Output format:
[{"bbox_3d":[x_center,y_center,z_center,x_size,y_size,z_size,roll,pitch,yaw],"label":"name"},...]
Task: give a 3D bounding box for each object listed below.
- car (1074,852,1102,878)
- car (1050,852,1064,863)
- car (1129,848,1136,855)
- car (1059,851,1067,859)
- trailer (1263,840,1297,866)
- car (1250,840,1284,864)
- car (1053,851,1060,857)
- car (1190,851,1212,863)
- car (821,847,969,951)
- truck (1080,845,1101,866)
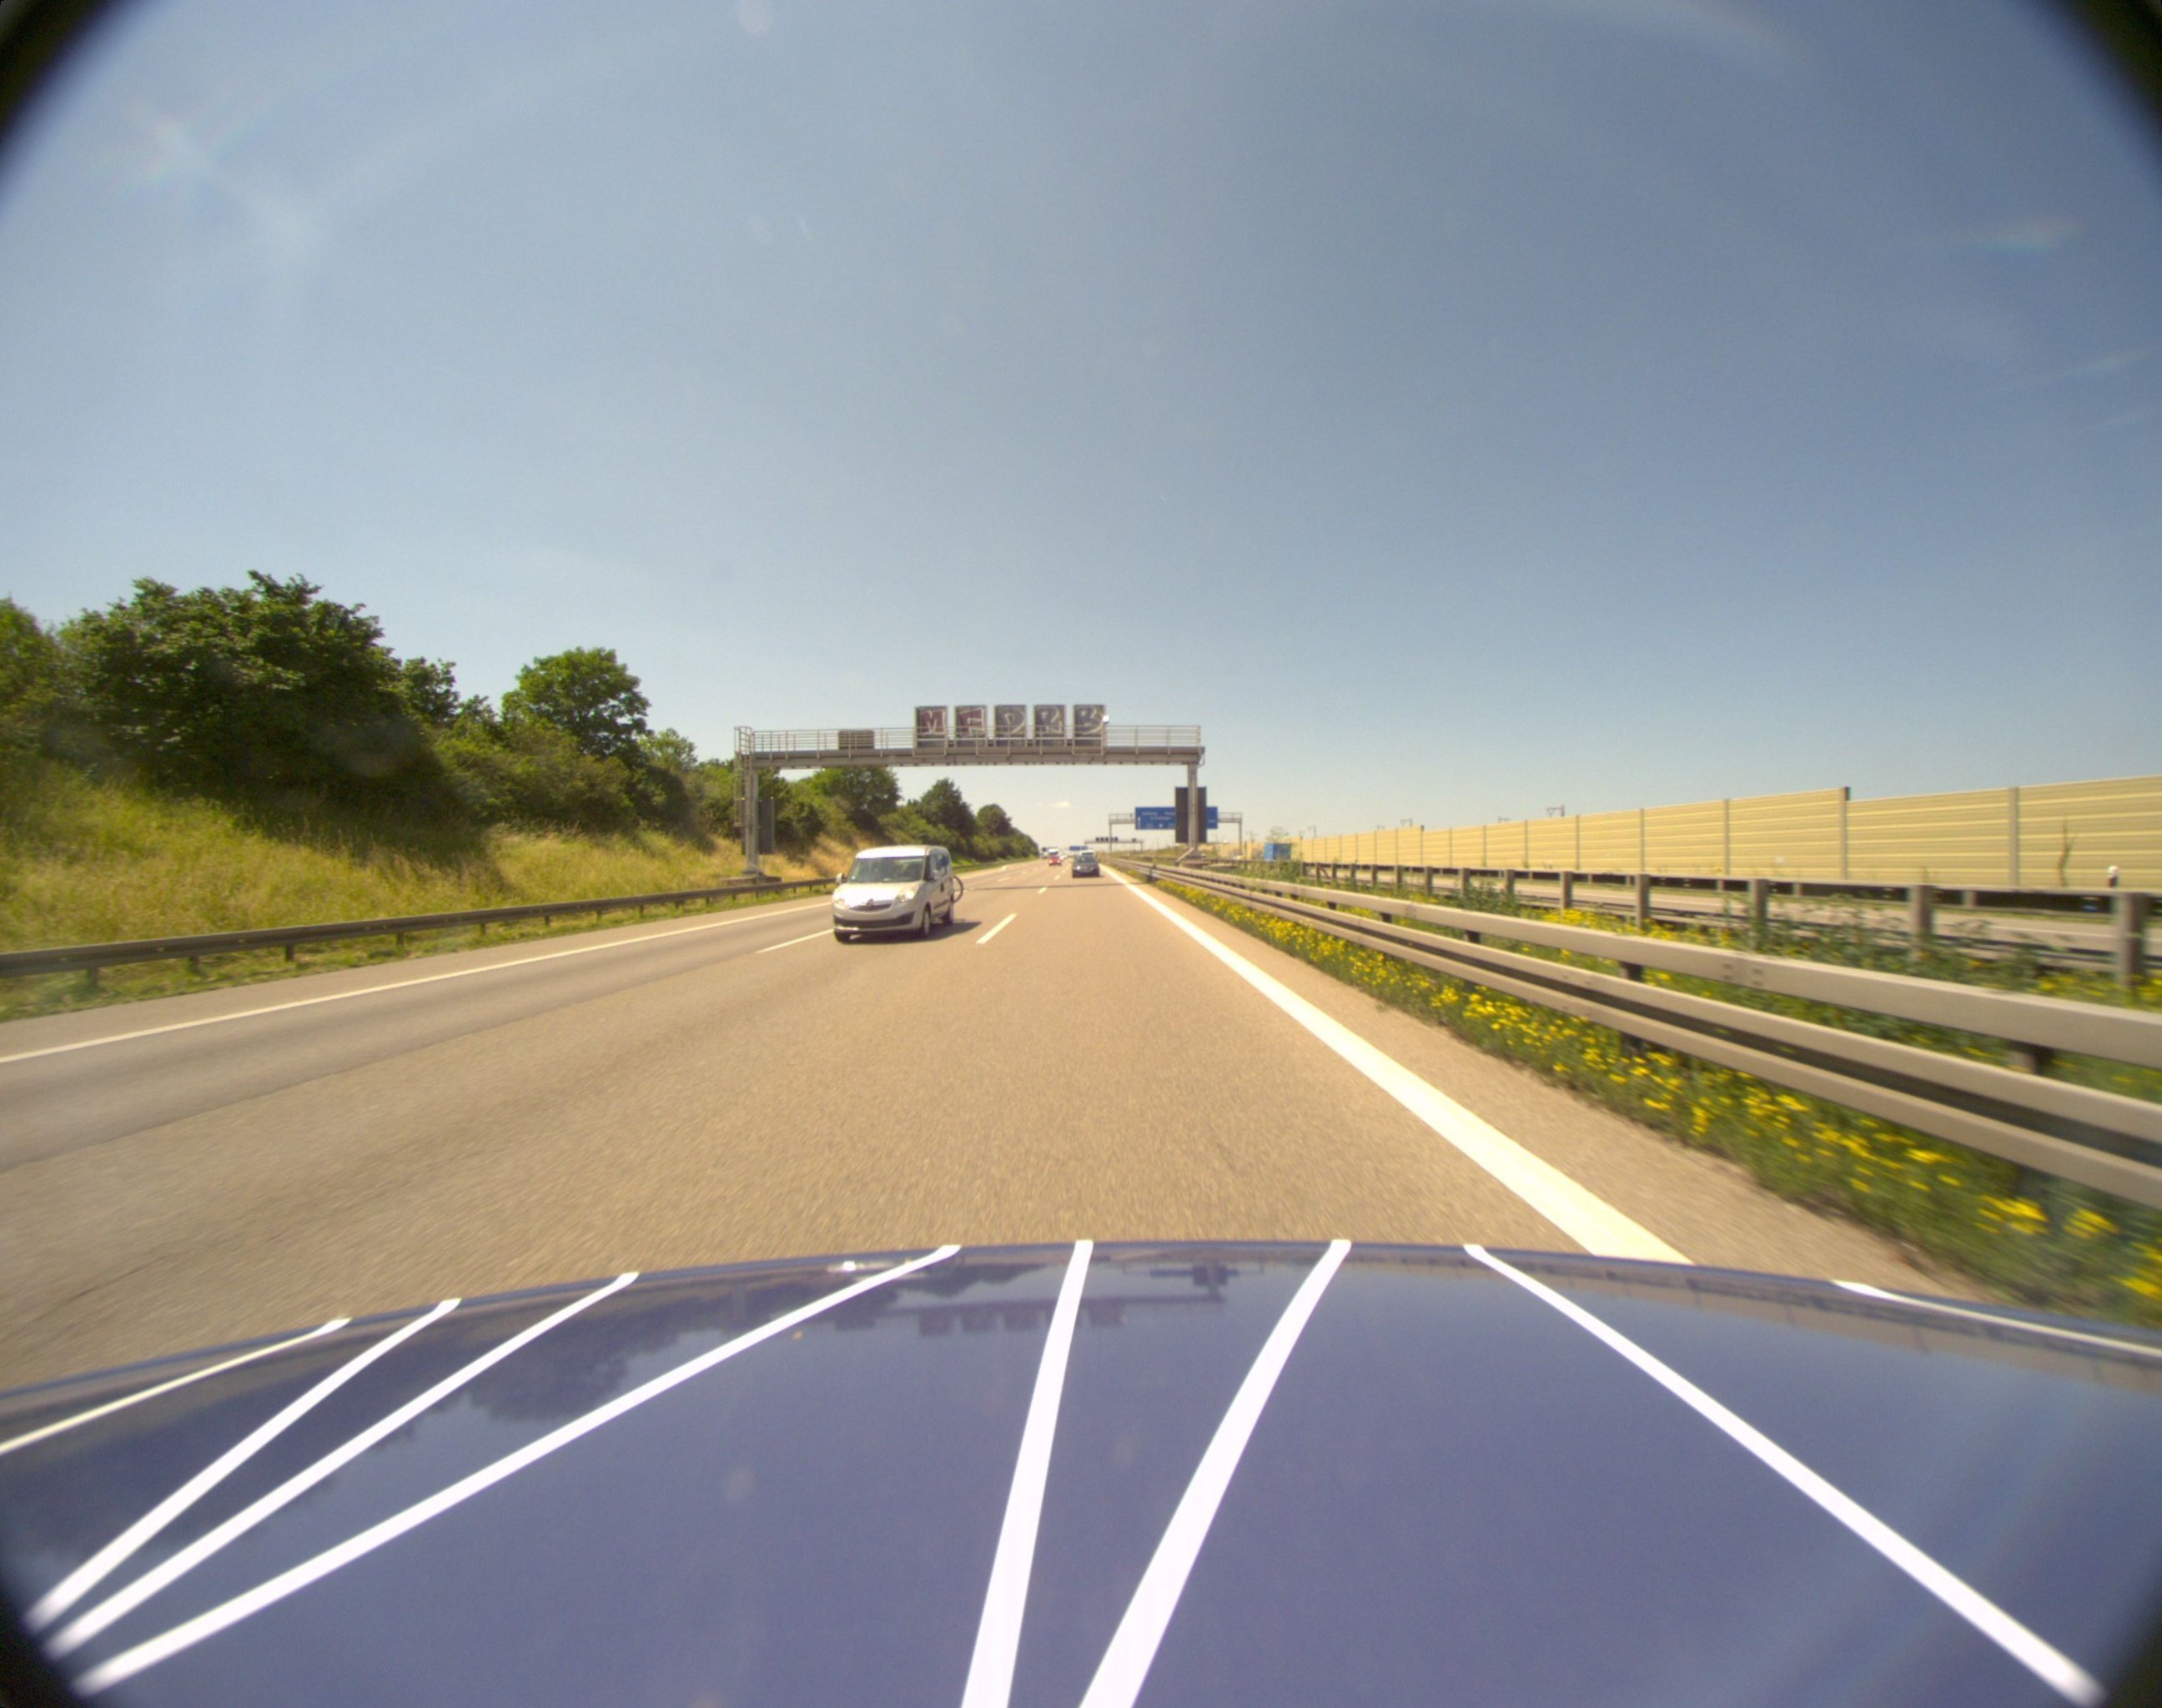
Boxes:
[{"bbox_3d":[0.462,0.673,50.324,1.715,1.586,4.547,-2,0,0],"label":"car"},{"bbox_3d":[-3.389,0.482,107.205,1.723,1.514,3.581,-2,1,0],"label":"car"},{"bbox_3d":[16.733,-0.787,246.682,1.998,2.002,4.000,0,0,0],"label":"car"},{"bbox_3d":[-3.920,0.244,167.699,1.723,1.514,3.581,-2,1,0],"label":"car"},{"bbox_3d":[18.243,-0.145,69.844,1.999,2.225,4.204,-2,1,-1],"label":"trailer"},{"bbox_3d":[18.185,-0.182,74.545,1.999,2.212,5.097,-2,0,-1],"label":"car"},{"bbox_3d":[-8.156,-0.034,253.521,1.998,2.002,3.999,-2,1,0],"label":"car"},{"bbox_3d":[14.655,0.352,93.119,1.898,1.422,4.723,2,1,-1],"label":"car"},{"bbox_3d":[-3.762,0.815,16.427,1.812,1.836,5.312,-2,0,0],"label":"car"},{"bbox_3d":[1.087,0.112,91.325,2.333,2.378,6.686,-2,1,0],"label":"truck"}]
